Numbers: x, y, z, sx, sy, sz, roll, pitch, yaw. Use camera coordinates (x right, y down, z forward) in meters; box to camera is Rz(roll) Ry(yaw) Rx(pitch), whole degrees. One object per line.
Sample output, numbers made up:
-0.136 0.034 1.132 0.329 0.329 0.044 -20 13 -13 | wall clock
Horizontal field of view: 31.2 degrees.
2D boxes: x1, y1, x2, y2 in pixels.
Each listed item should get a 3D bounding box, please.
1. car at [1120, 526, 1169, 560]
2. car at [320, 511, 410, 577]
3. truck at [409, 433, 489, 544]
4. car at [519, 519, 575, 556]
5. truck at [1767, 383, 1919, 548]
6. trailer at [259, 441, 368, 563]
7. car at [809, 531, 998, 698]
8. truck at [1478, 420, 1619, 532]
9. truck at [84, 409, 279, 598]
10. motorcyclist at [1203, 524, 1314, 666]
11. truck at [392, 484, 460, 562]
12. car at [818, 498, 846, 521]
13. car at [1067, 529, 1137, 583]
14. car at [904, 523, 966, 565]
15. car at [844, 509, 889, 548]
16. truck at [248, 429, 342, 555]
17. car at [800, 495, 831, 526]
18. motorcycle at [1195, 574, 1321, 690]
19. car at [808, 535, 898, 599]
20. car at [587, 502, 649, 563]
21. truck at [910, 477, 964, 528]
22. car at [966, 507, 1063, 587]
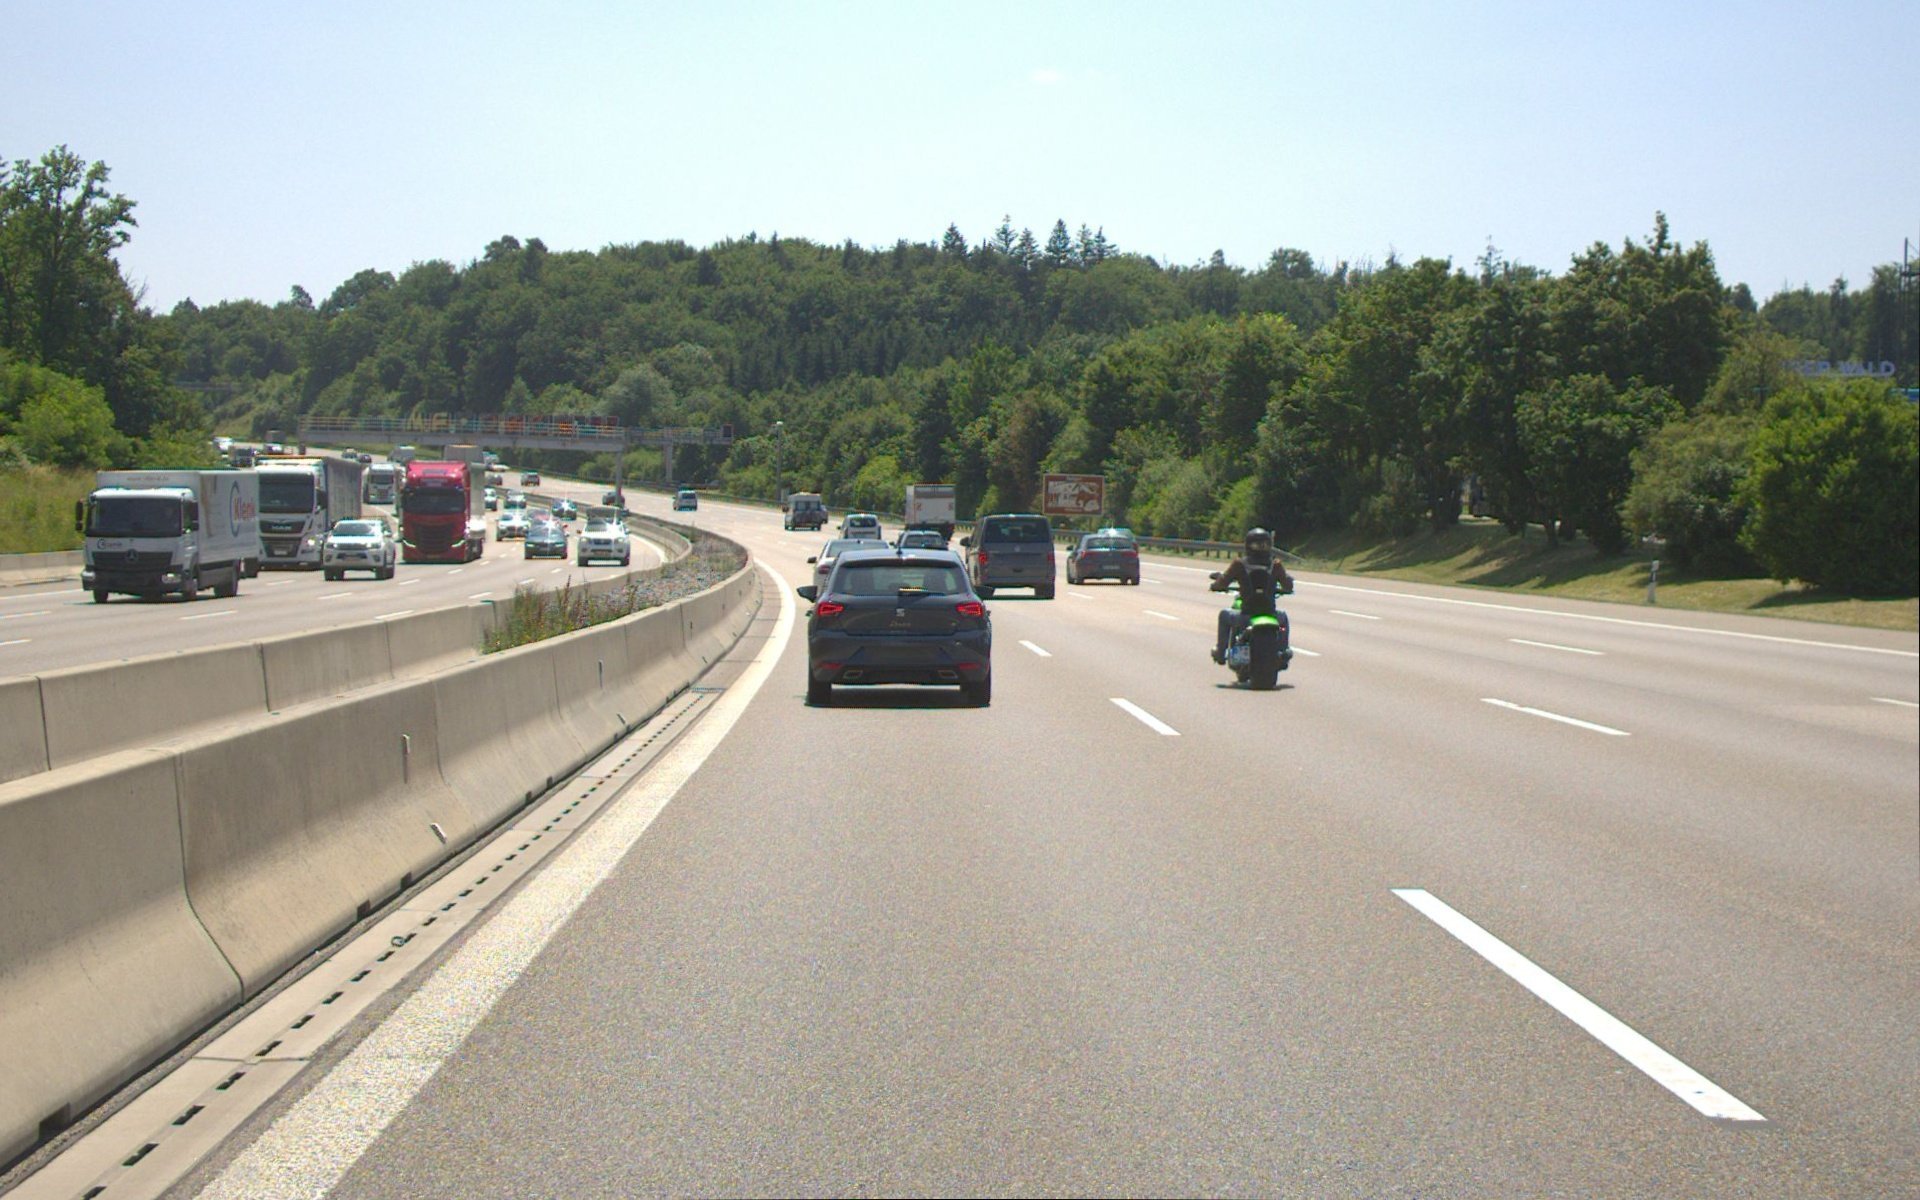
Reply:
6.805 -2.117 127.237 1.608 1.208 3.460 0 0 0 | car
-18.348 -1.748 106.302 1.993 1.963 5.738 0 1 -2 | car
-20.462 -4.480 137.882 2.500 4.336 6.607 1 2 -3 | truck
-17.665 -2.702 147.282 1.993 1.542 4.882 0 1 -2 | car
37.162 -5.233 138.550 5.508 6.244 15.432 0 1 0 | truck
-24.230 -3.770 129.481 2.500 4.336 13.701 1 2 -4 | trailer
-0.487 0.132 32.596 1.624 1.482 3.685 1 0 1 | car
26.668 -5.563 156.565 3.326 4.812 14.700 0 1 -2 | truck
-18.191 -2.231 80.928 2.531 4.163 9.620 0 1 -1 | truck
3.075 -0.066 35.525 0.962 1.432 1.235 0 1 -3 | motorcyclist
-31.246 -4.486 201.593 2.899 4.336 16.559 0 1 -5 | truck
-9.720 -6.884 260.801 1.993 1.568 4.001 3 2 -3 | car
3.983 -1.239 96.942 1.675 1.427 3.685 2 1 -2 | car
-0.859 -1.895 115.523 1.842 1.218 4.225 3 2 -3 | car
-4.464 -3.406 163.550 1.993 1.678 4.424 3 2 -3 | car
-23.742 -3.868 123.048 2.500 4.336 6.607 1 2 -4 | truck
-9.890 -6.126 234.494 1.993 2.006 4.675 3 2 -3 | car
3.062 0.315 35.527 0.977 1.125 2.271 1 1 -3 | motorcycle
-2.210 -0.691 70.235 1.782 1.261 3.460 0 1 -3 | car
-12.962 -2.576 130.503 1.993 2.281 5.766 0 1 -2 | car
-1.367 -5.631 198.070 2.726 2.776 5.684 3 2 -3 | truck
1.268 -1.265 81.558 2.097 1.845 4.081 0 1 -2 | car
